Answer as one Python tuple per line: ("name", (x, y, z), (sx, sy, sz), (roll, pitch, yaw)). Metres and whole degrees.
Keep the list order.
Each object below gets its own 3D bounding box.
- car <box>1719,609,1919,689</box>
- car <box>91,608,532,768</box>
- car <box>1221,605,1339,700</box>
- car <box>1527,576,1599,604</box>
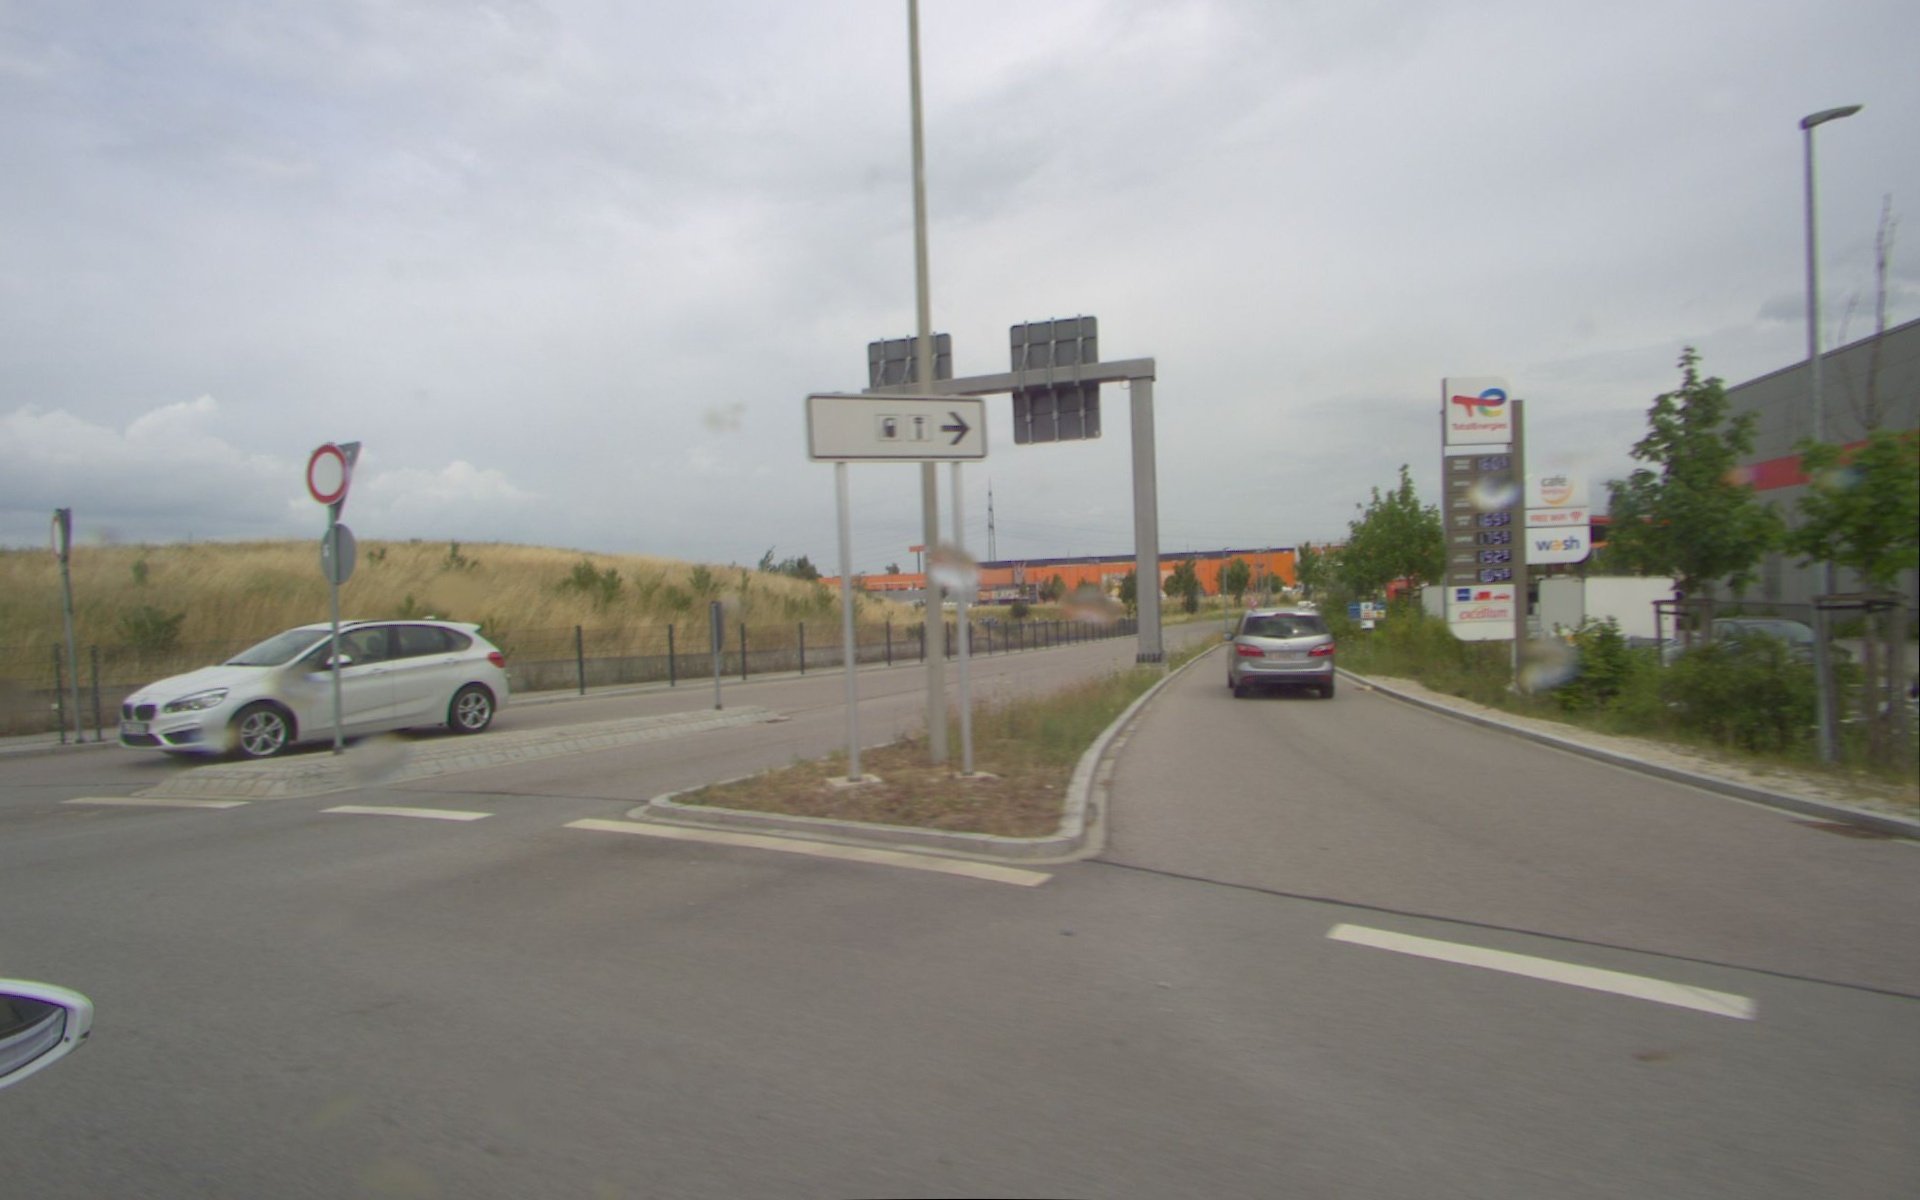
("car", (19.058, 1.047, 21.704), (1.893, 1.593, 3.716), (0, -3, -35))
("car", (-7.930, 0.952, 12.757), (1.757, 1.650, 4.409), (-1, -1, 28))
("car", (5.978, 0.935, 18.927), (1.883, 1.594, 3.995), (-1, -1, 16))
("car", (40.248, -0.648, 66.930), (3.766, 1.817, 1.715), (0, -1, 11))
